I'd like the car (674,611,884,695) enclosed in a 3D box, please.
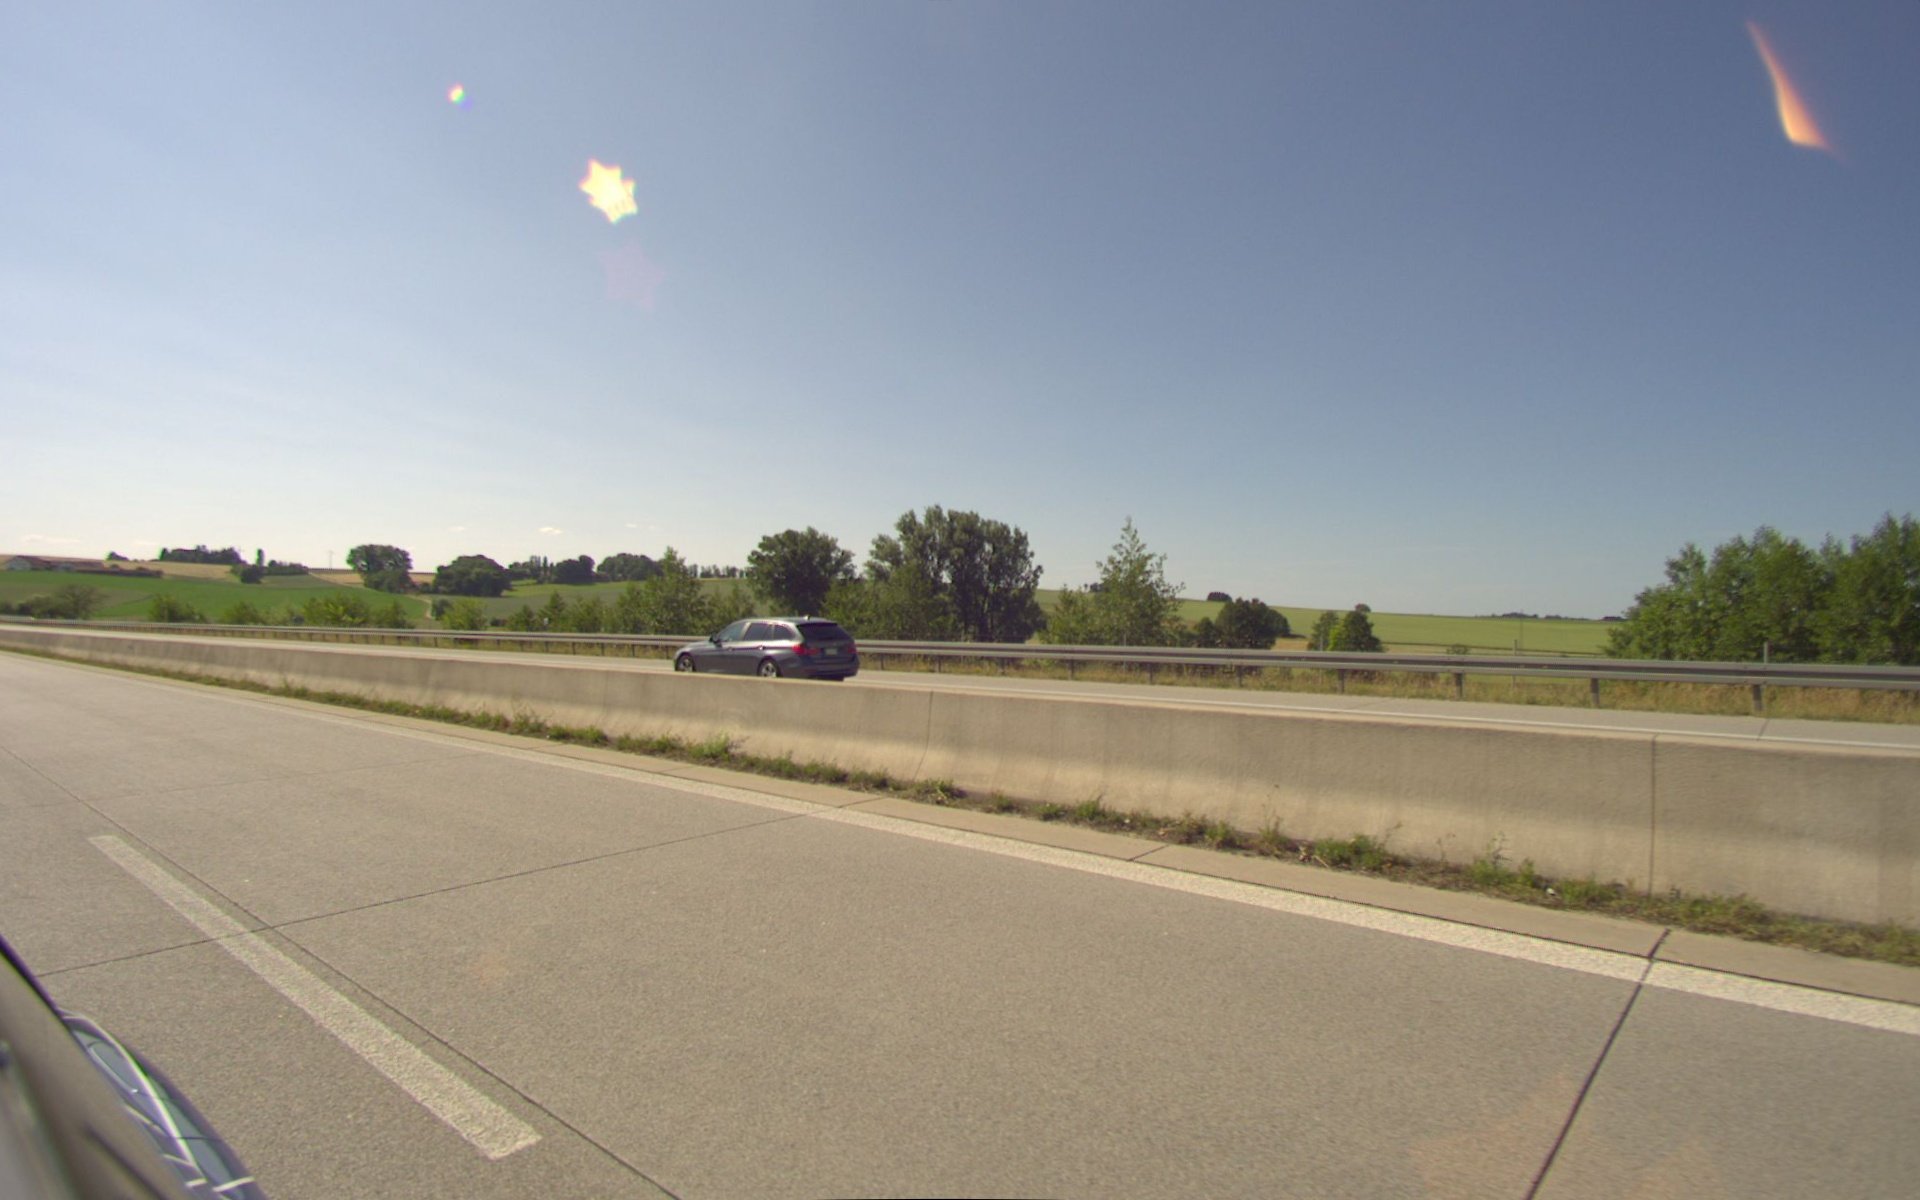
[{"bbox_3d":[-3.753,0.981,20.505,4.510,1.467,1.794,0,0,41],"label":"car"}]
